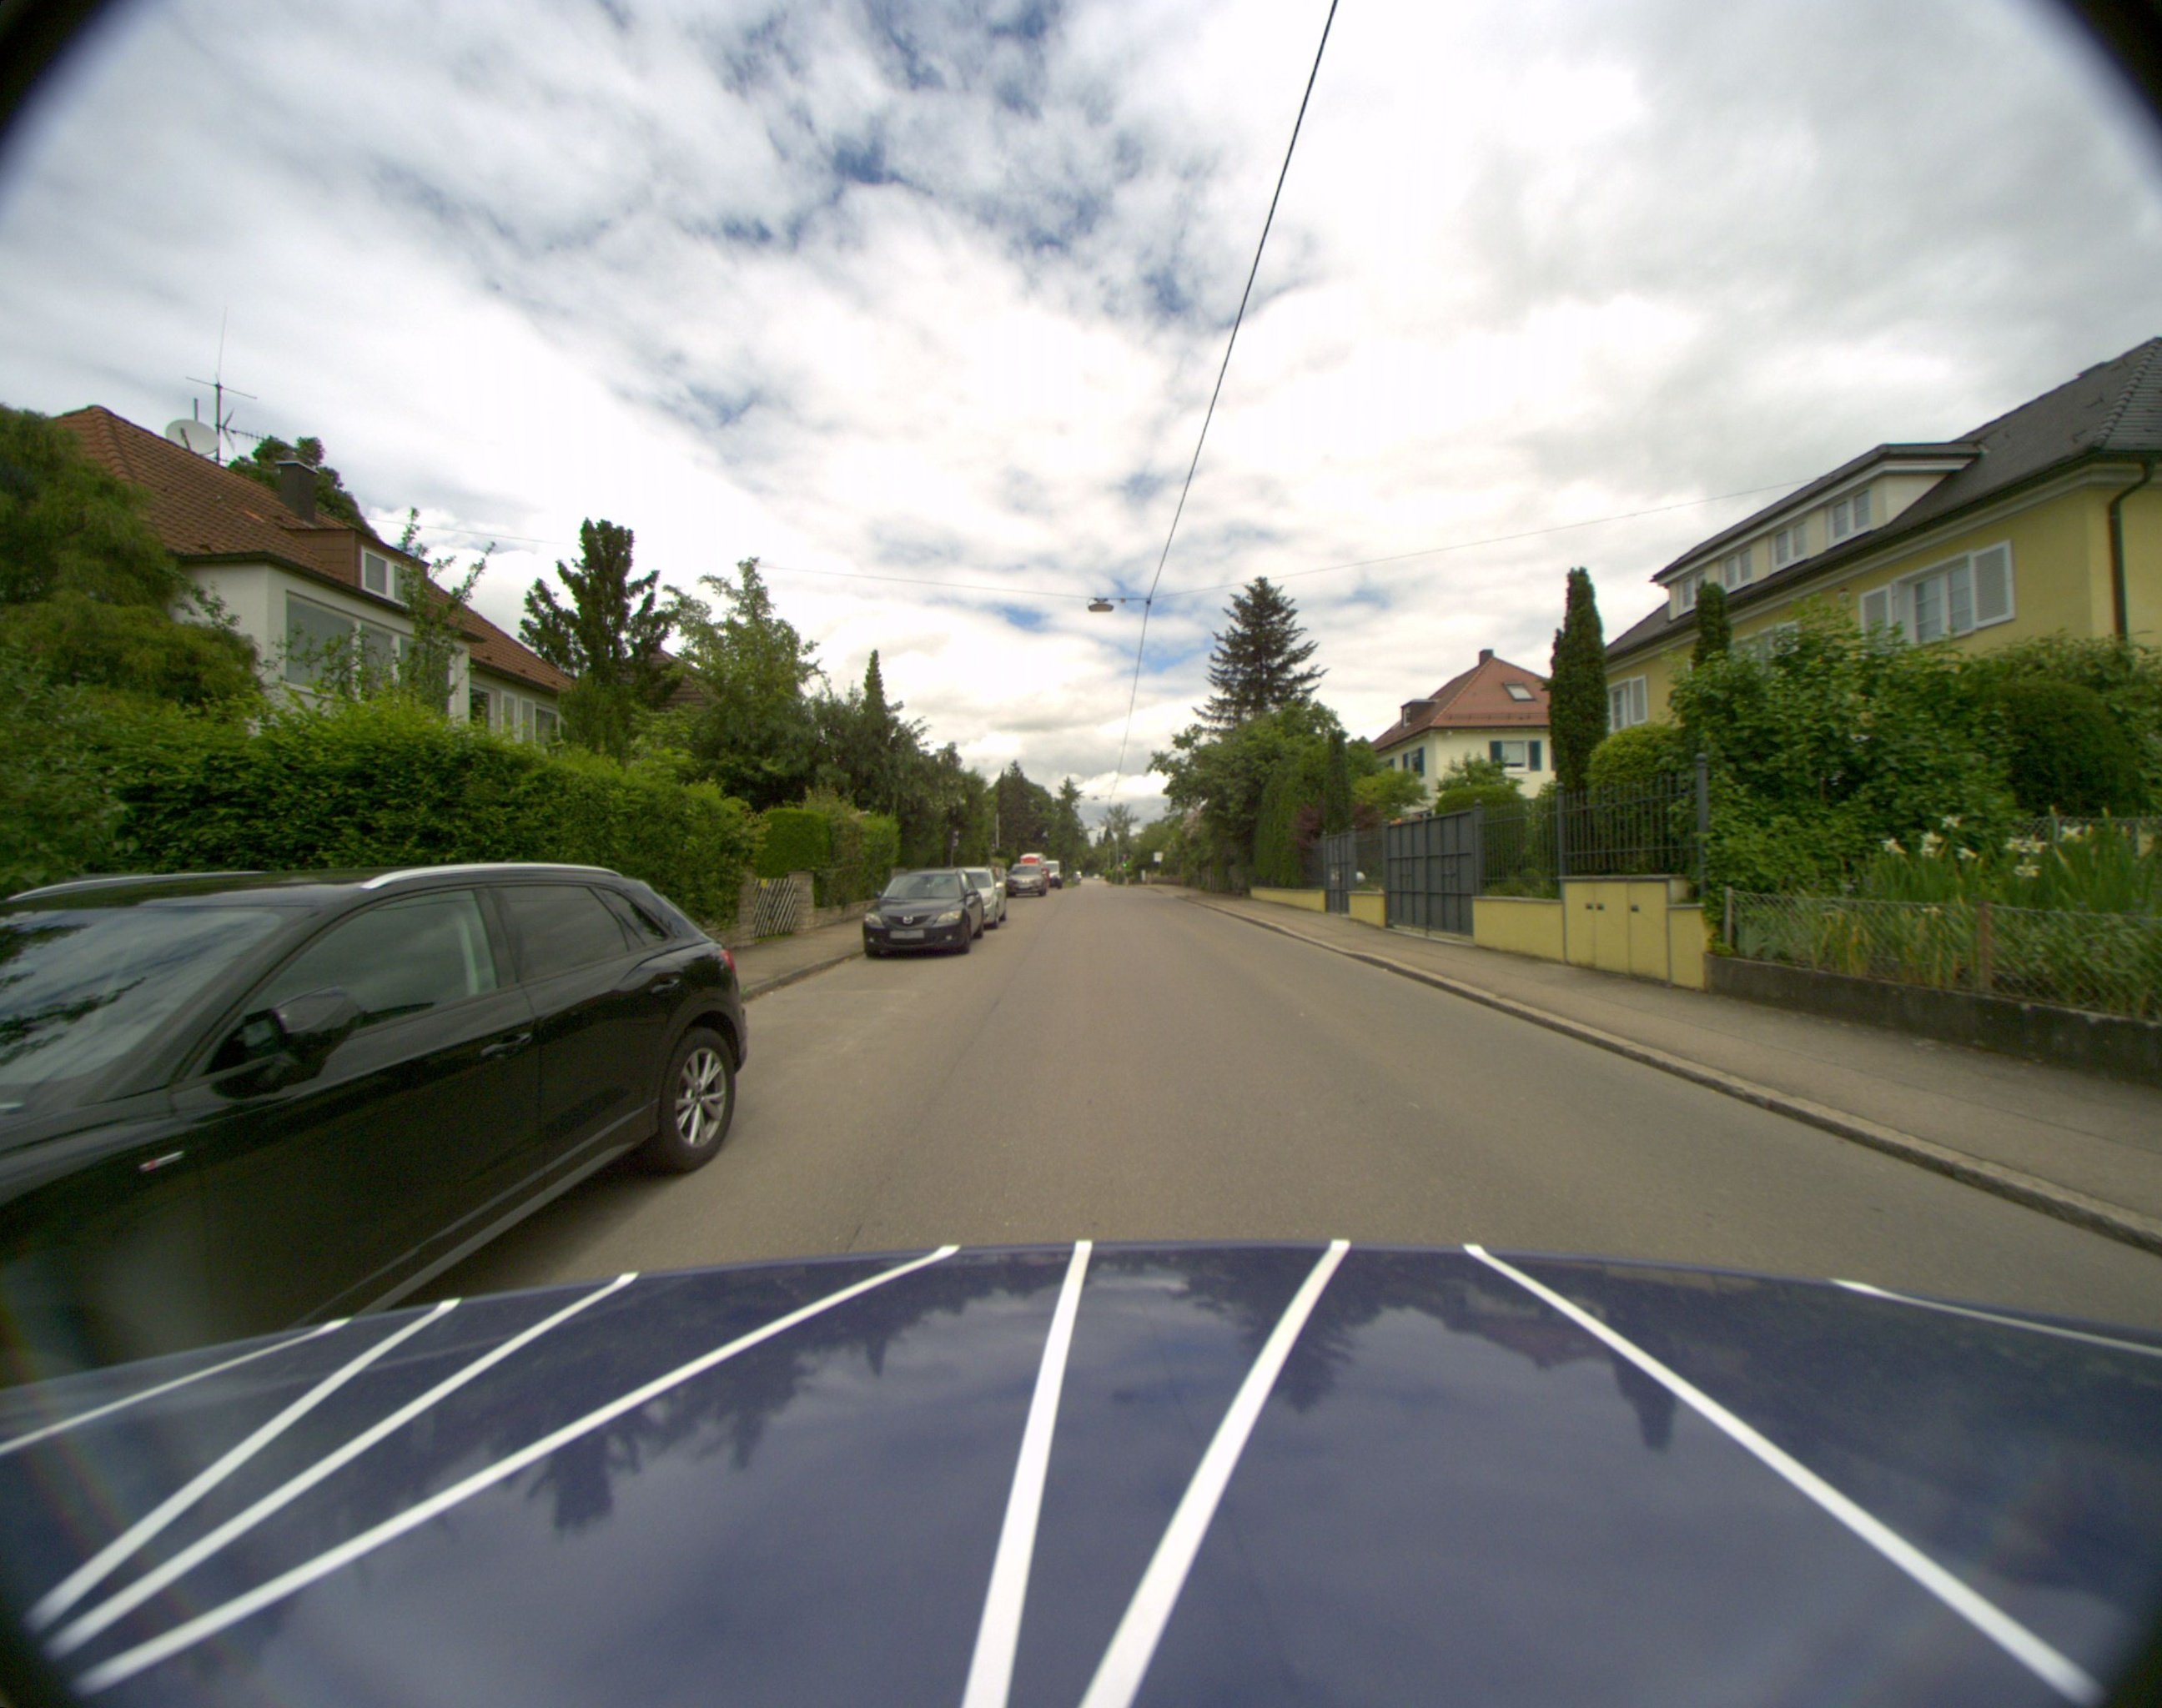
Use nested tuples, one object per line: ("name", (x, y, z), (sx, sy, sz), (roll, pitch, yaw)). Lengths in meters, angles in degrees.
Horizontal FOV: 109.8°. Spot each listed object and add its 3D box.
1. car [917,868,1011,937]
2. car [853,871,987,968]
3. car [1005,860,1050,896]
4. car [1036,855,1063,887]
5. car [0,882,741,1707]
("car", (-2.800, 1.113, 19.066), (1.761, 1.468, 4.357), (-1, 0, -2))
("car", (-2.810, 1.080, 14.112), (1.721, 1.451, 4.140), (-1, 0, -2))
("car", (-2.611, 1.183, 37.830), (1.878, 1.622, 4.126), (-2, -1, 0))
("car", (-2.351, 1.272, 58.186), (1.854, 2.211, 5.367), (-3, 0, -1))
("car", (-2.914, 0.973, 2.250), (1.805, 1.582, 4.141), (-1, 0, 2))
